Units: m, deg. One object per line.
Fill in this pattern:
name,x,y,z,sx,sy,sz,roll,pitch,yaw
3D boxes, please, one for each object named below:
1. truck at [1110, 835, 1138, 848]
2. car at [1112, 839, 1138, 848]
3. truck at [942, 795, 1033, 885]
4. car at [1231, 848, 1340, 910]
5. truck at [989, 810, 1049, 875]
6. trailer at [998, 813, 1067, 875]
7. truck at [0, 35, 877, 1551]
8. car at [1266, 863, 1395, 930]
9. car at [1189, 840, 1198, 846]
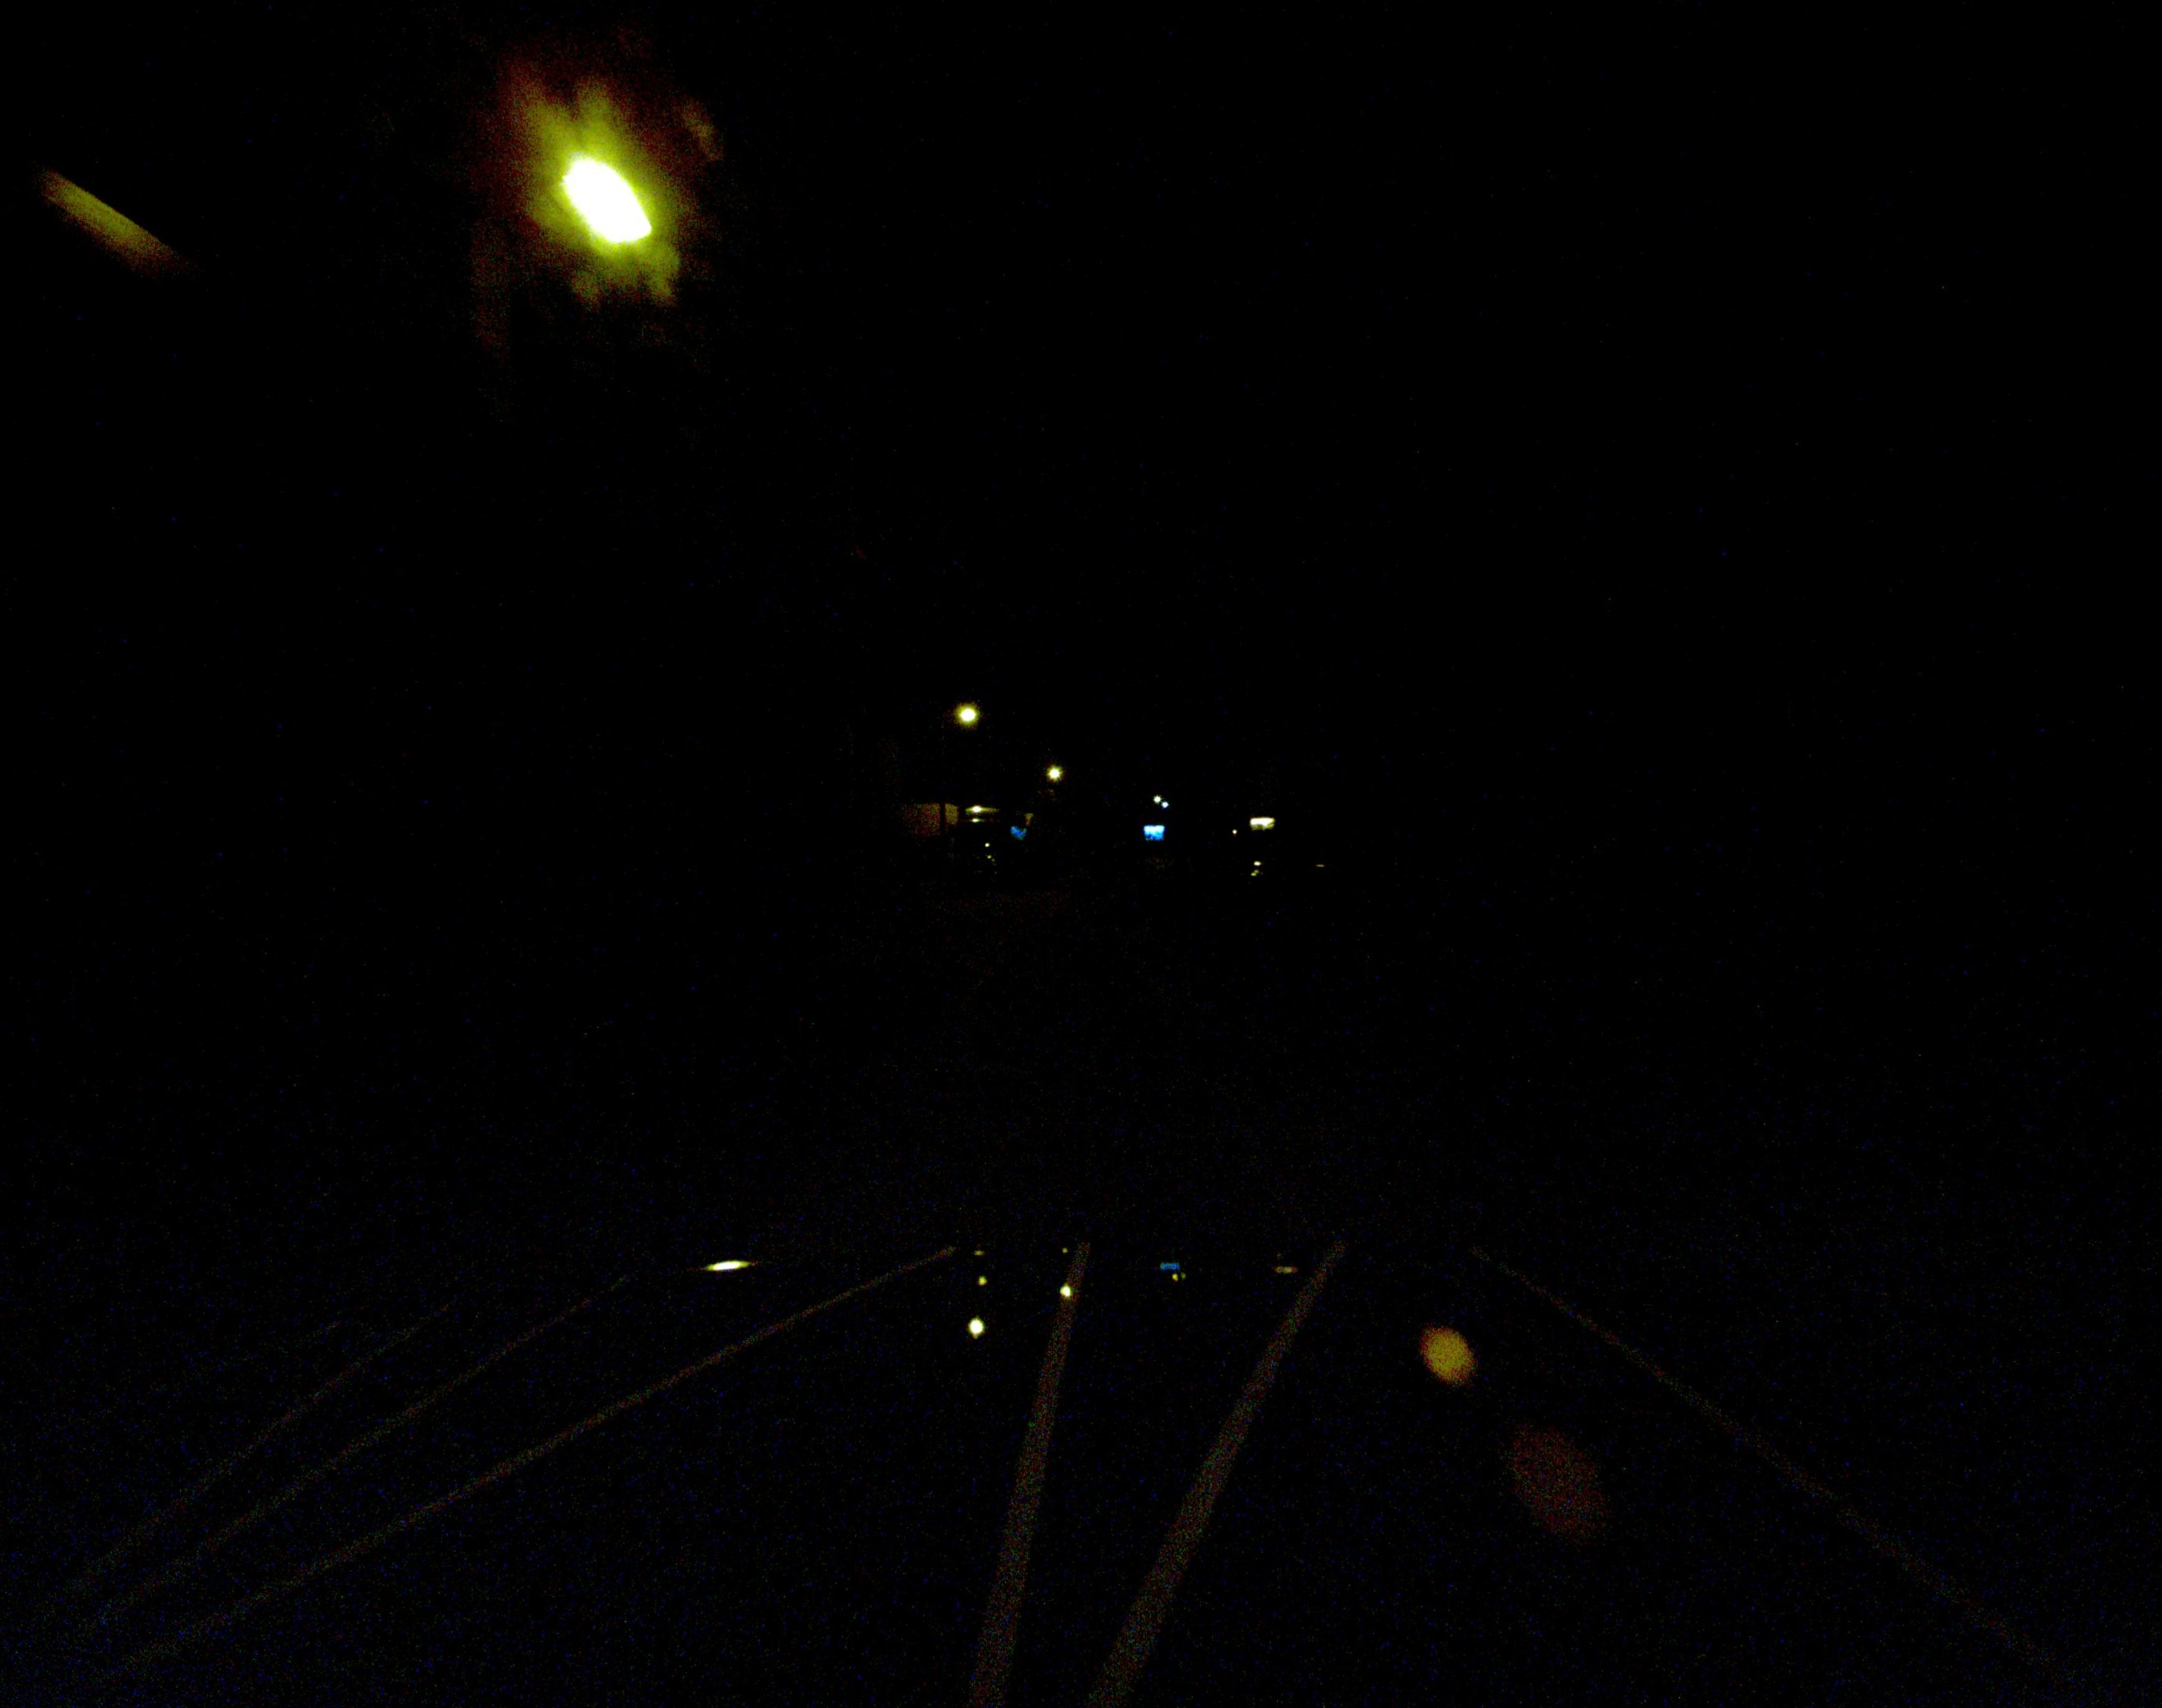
truck,8.964,-2.569,157.979,5.537,2.585,2.475,-1,2,16
car,9.306,-2.264,160.493,5.079,1.826,1.991,-1,2,19
truck,-4.474,-0.702,38.963,2.836,3.960,10.342,1,1,3
car,6.167,0.675,23.571,1.999,1.627,4.772,-1,1,-1
truck,-3.924,-0.769,49.569,2.836,3.961,6.051,1,1,5
trailer,-3.239,-0.772,56.101,2.814,3.960,13.978,1,1,6
truck,-4.657,-0.233,5.870,3.530,3.960,10.338,0,1,-1
car,5.869,0.938,18.399,1.606,1.346,3.998,-1,0,-3
car,29.235,-2.867,197.426,1.937,1.543,4.003,-1,1,12
